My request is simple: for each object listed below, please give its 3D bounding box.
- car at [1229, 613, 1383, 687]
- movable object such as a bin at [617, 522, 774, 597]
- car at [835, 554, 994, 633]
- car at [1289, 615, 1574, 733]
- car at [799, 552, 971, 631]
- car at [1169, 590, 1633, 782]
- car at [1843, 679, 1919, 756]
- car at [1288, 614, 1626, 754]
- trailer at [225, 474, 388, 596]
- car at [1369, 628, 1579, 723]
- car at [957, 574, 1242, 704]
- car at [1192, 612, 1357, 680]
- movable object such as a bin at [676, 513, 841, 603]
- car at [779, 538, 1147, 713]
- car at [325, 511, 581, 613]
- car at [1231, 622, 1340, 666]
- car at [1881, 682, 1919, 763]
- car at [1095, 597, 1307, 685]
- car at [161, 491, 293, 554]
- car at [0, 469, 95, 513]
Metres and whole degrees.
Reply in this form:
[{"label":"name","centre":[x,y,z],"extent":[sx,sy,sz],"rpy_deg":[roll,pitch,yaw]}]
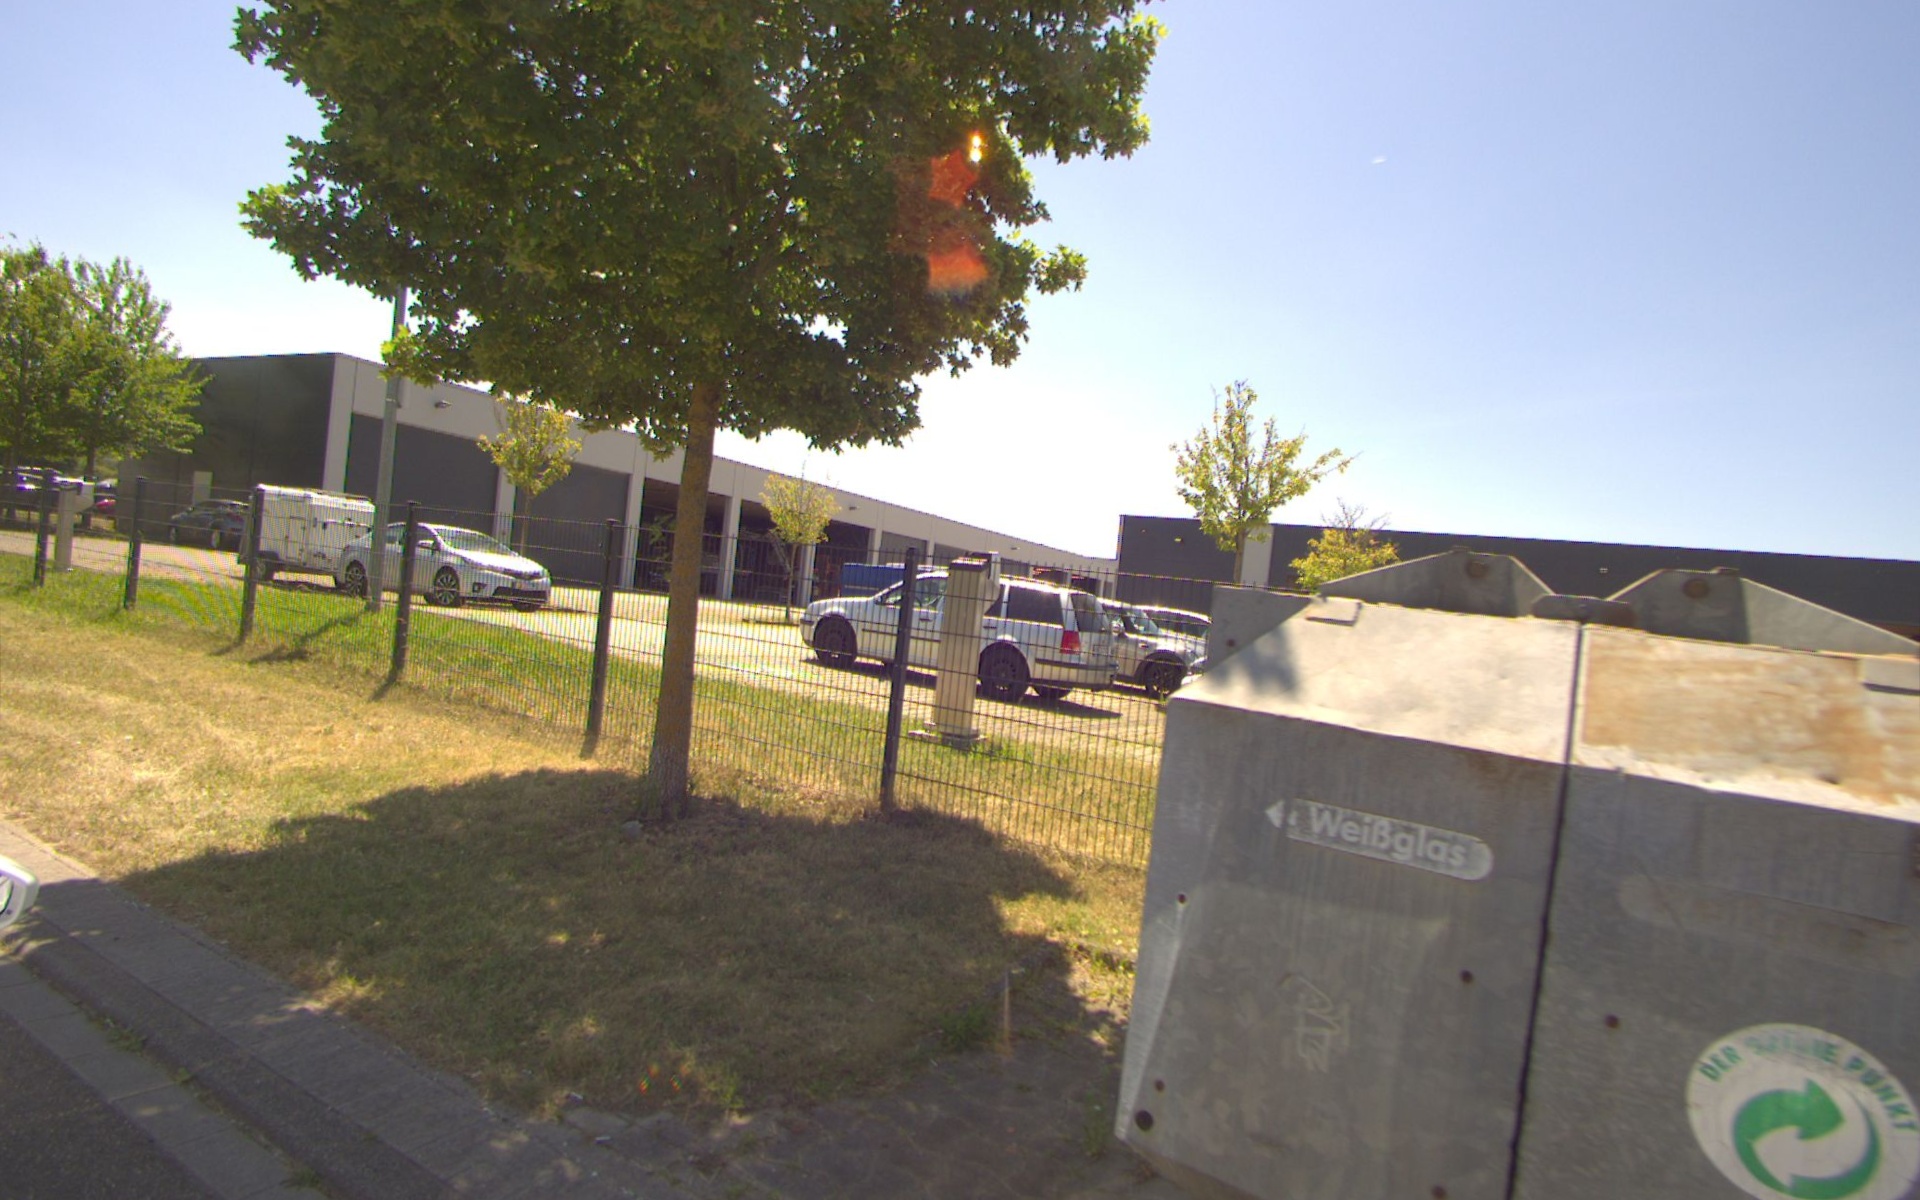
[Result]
[{"label":"car","centre":[10.342,1.469,30.099],"extent":[4.030,1.783,1.792],"rpy_deg":[4,0,28]},{"label":"movable object such as a bin","centre":[-13.753,-2.106,52.187],"extent":[7.194,3.032,3.545],"rpy_deg":[7,1,29]},{"label":"car","centre":[-1.690,-0.259,36.530],"extent":[5.411,2.509,1.883],"rpy_deg":[4,0,28]},{"label":"car","centre":[7.798,1.177,16.845],"extent":[4.030,1.480,1.792],"rpy_deg":[4,0,28]},{"label":"car","centre":[-2.592,-0.298,34.197],"extent":[5.559,2.291,1.883],"rpy_deg":[4,0,28]},{"label":"car","centre":[4.497,0.796,10.618],"extent":[4.072,1.450,1.792],"rpy_deg":[4,0,28]},{"label":"car","centre":[23.208,2.913,23.021],"extent":[4.005,1.605,1.914],"rpy_deg":[7,1,28]},{"label":"car","centre":[7.024,1.128,14.492],"extent":[4.030,1.480,1.792],"rpy_deg":[4,0,28]},{"label":"trailer","centre":[-13.534,-1.354,20.807],"extent":[3.209,2.033,1.494],"rpy_deg":[10,3,32]},{"label":"car","centre":[11.719,1.676,23.115],"extent":[4.030,1.703,1.792],"rpy_deg":[4,0,28]},{"label":"car","centre":[2.358,0.620,17.279],"extent":[4.345,1.500,1.792],"rpy_deg":[8,1,28]},{"label":"car","centre":[8.693,1.262,27.865],"extent":[4.030,1.480,1.792],"rpy_deg":[4,0,28]},{"label":"movable object such as a bin","centre":[-11.351,-2.356,56.411],"extent":[8.518,4.025,3.545],"rpy_deg":[7,1,29]},{"label":"car","centre":[-0.011,0.276,13.138],"extent":[4.345,1.550,1.792],"rpy_deg":[8,1,28]},{"label":"car","centre":[-9.231,-0.702,18.261],"extent":[4.392,1.542,1.883],"rpy_deg":[4,-1,28]},{"label":"car","centre":[13.760,1.834,42.545],"extent":[4.030,1.480,1.792],"rpy_deg":[4,0,28]},{"label":"car","centre":[21.780,2.793,20.449],"extent":[4.005,1.605,1.914],"rpy_deg":[7,1,28]},{"label":"car","centre":[5.174,0.861,21.652],"extent":[4.030,1.480,1.792],"rpy_deg":[4,0,28]},{"label":"car","centre":[-21.938,-2.327,30.107],"extent":[3.633,1.425,1.738],"rpy_deg":[7,1,29]},{"label":"car","centre":[-40.037,-4.723,42.800],"extent":[1.966,1.415,4.445],"rpy_deg":[4,-1,29]}]
